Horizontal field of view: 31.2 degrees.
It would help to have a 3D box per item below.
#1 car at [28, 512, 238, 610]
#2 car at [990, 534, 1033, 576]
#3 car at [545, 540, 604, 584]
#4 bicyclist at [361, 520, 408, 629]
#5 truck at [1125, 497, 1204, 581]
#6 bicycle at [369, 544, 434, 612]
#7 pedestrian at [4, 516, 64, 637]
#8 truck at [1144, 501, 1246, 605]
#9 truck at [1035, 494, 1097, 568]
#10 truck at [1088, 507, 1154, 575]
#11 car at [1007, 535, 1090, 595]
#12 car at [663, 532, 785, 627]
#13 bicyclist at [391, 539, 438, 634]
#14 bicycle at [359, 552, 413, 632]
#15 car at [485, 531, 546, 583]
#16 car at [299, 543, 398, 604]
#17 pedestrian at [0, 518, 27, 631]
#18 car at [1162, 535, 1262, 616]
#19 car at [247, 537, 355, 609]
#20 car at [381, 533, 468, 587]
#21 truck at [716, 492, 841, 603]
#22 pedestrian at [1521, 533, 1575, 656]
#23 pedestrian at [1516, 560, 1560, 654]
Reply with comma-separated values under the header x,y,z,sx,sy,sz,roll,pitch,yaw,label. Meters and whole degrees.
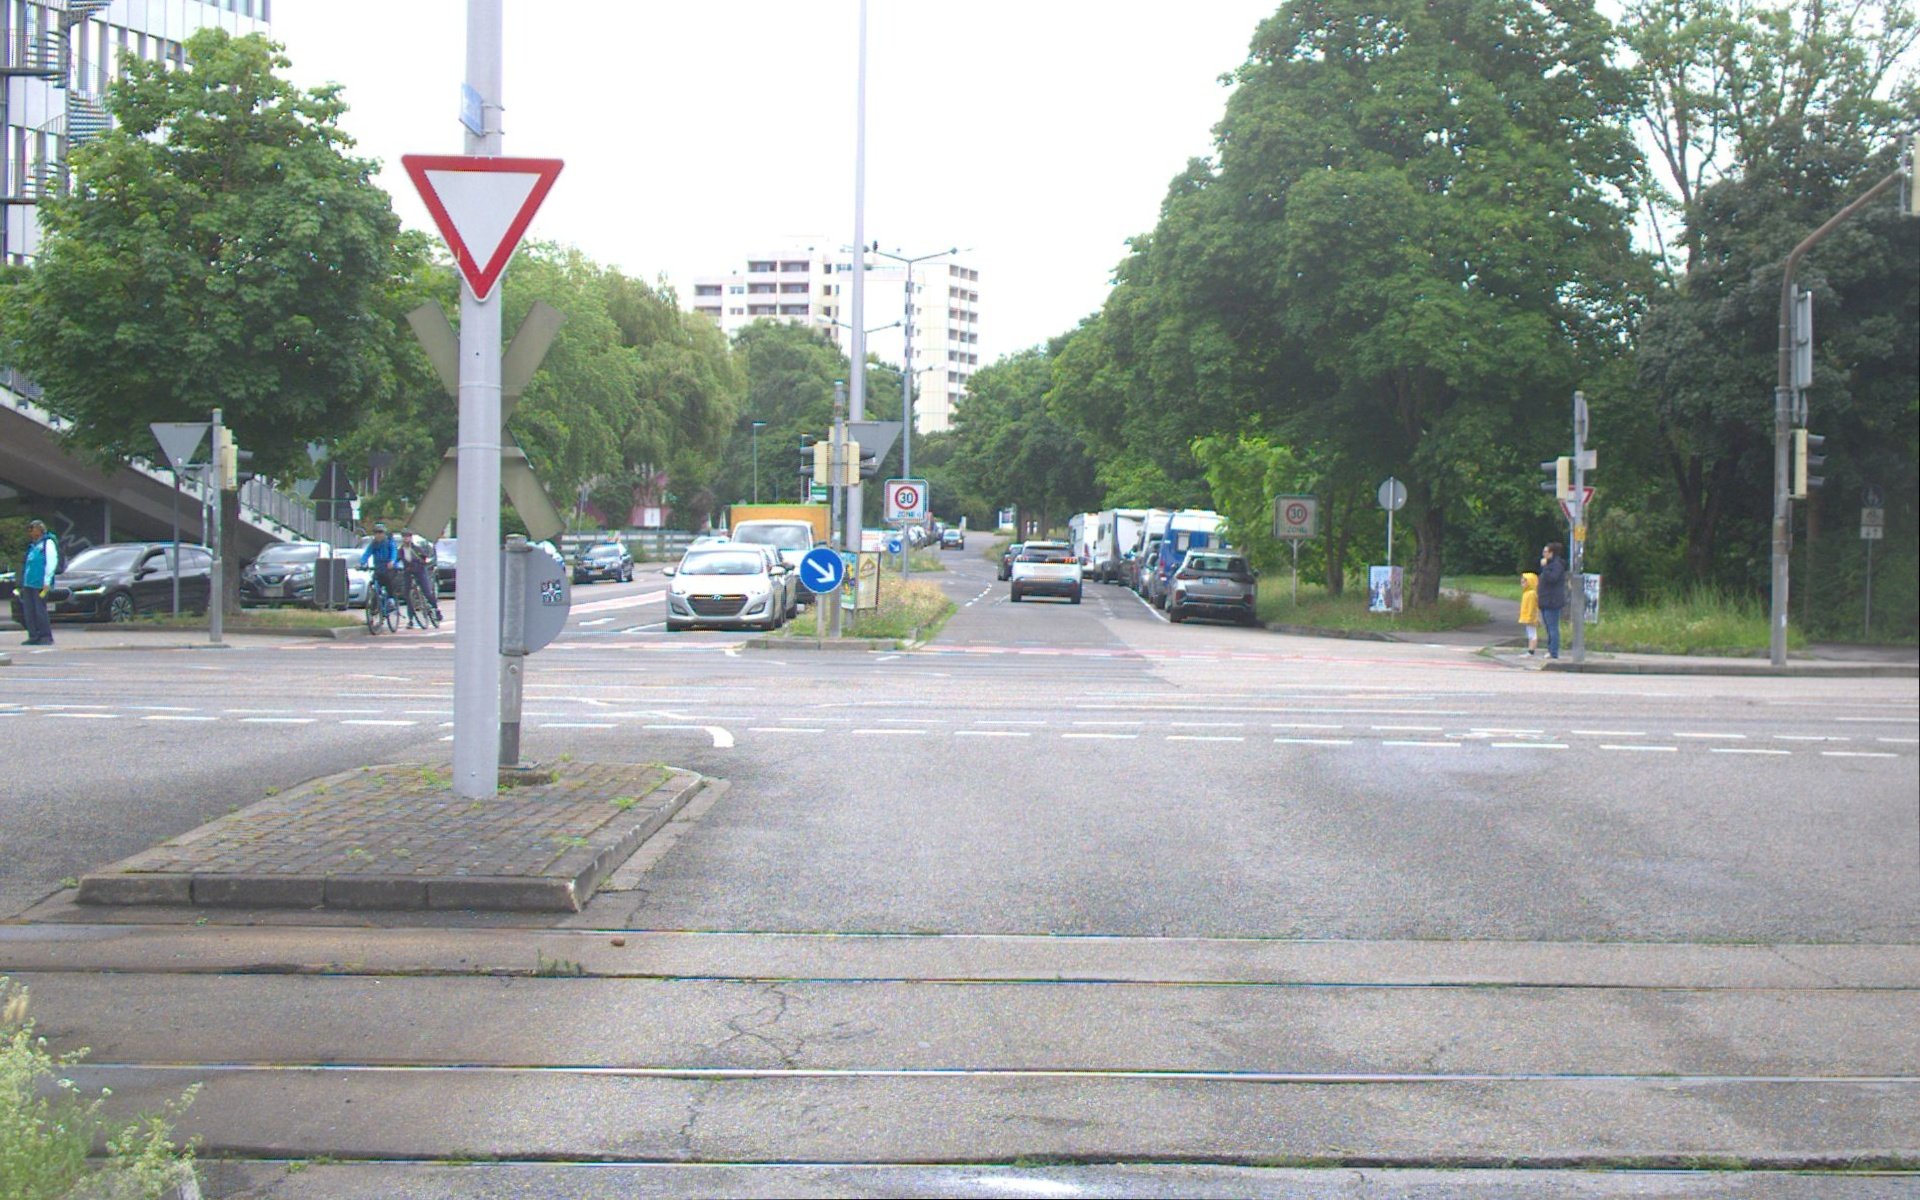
x,y,z,sx,sy,sz,roll,pitch,yaw,label
-13.742,-0.671,57.357,1.673,1.546,3.997,1,1,15,car
1.943,-1.715,130.328,1.554,1.500,4.000,1,1,0,car
-14.069,-1.392,125.722,1.671,1.546,4.000,1,1,0,car
-9.342,-0.418,55.796,0.644,1.762,0.647,1,1,-1,bicyclist
7.103,-2.120,120.061,1.993,2.828,5.732,1,1,-4,truck
-9.390,-0.384,57.866,0.726,1.097,2.264,1,1,-1,bicycle
-12.326,-0.318,45.771,0.687,1.599,0.488,1,1,-5,pedestrian
6.153,-1.239,90.720,2.174,2.647,6.247,0,1,-1,truck
4.388,-2.854,142.921,1.993,2.998,5.773,1,1,-4,truck
6.165,-2.247,132.134,1.993,2.564,5.379,1,1,-2,truck
2.337,-0.951,91.652,2.020,1.500,4.000,1,1,-1,car
-3.941,-0.376,57.963,1.789,1.514,4.326,1,1,-1,car
-9.278,-0.231,58.532,0.679,1.589,0.695,1,0,-1,bicyclist
-9.346,-0.144,56.015,0.543,1.263,2.111,1,1,-1,bicycle
-13.729,-1.353,106.295,1.444,1.546,3.664,1,1,-1,car
-14.751,-0.658,83.141,1.671,1.382,3.895,1,1,0,car
-12.957,-0.344,45.912,0.917,1.505,0.404,1,1,-11,pedestrian
5.397,-0.544,73.928,1.784,1.656,4.000,1,1,-1,car
-14.854,-0.623,77.645,1.671,1.546,3.892,1,1,0,car
-14.475,-1.101,93.053,1.763,1.390,4.000,1,1,-1,car
-3.760,-1.114,72.136,2.155,2.191,5.840,1,1,1,truck
8.409,-0.082,49.198,0.657,1.744,0.459,1,1,-1,pedestrian
8.382,0.102,49.859,0.527,1.337,0.525,1,1,-1,pedestrian
